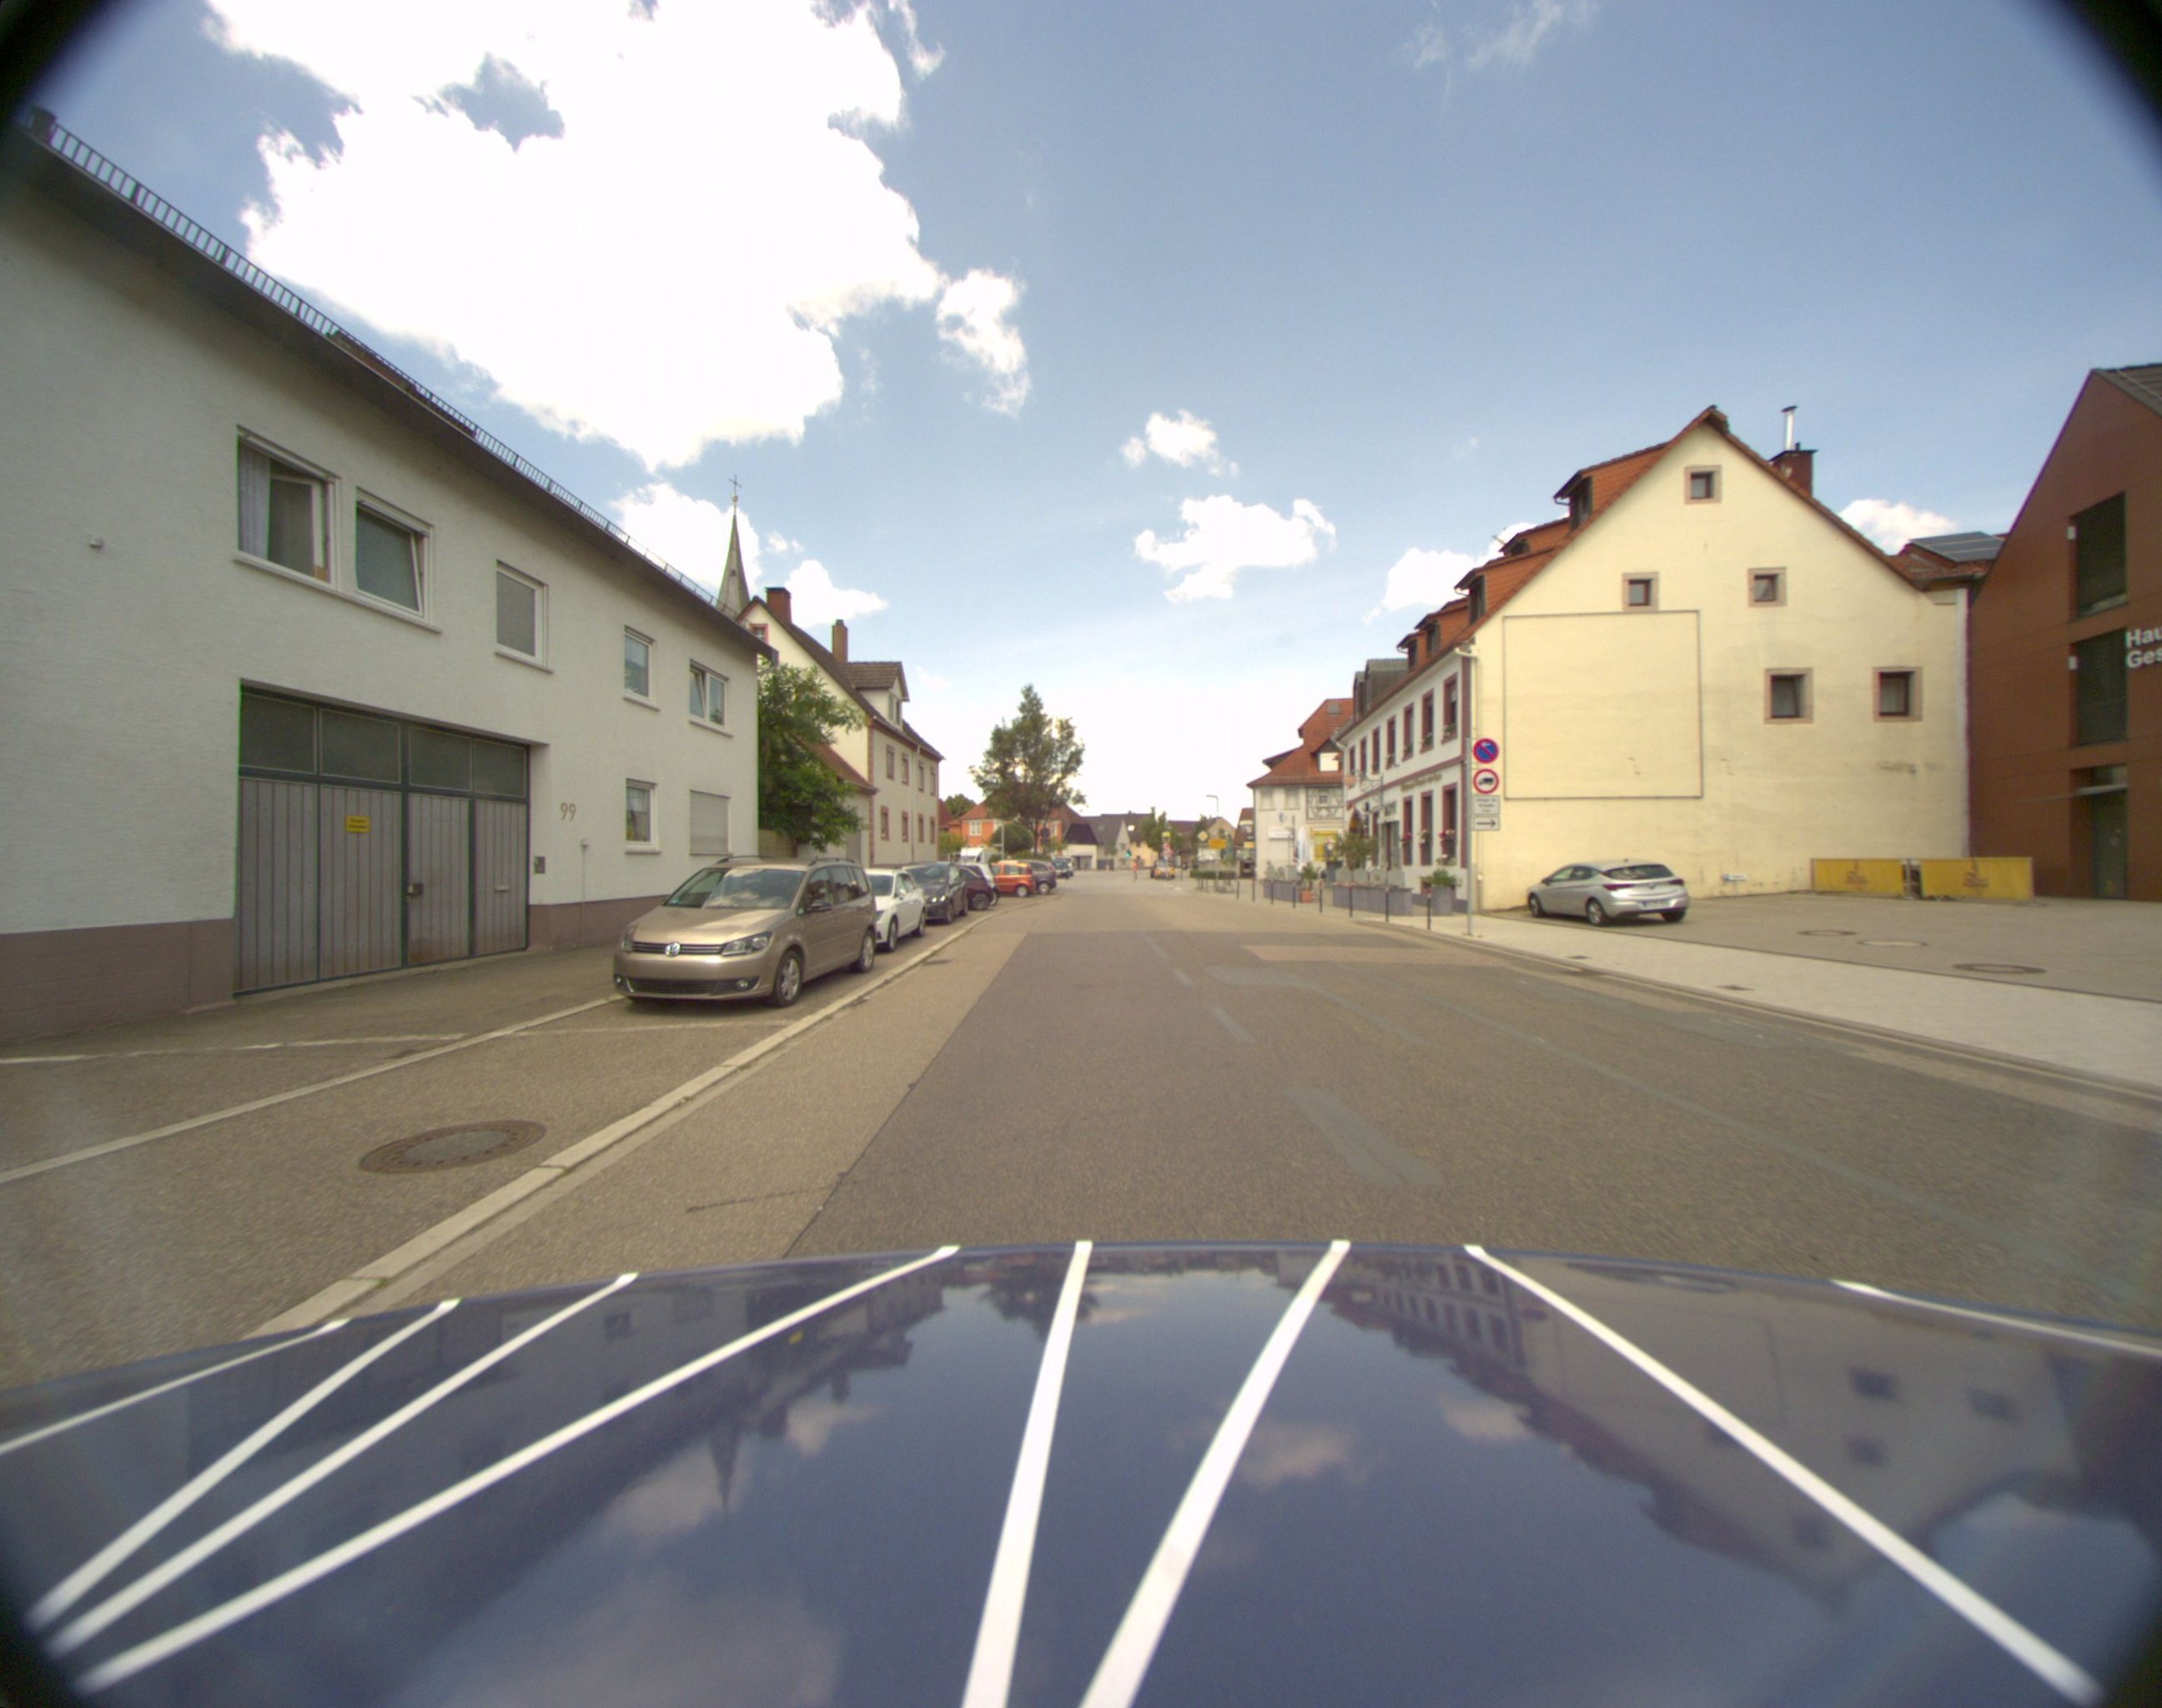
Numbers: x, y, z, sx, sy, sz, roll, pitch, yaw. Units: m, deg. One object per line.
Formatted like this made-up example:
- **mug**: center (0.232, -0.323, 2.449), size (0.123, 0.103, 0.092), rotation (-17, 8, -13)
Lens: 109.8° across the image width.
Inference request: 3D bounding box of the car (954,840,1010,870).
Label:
- **car**: center (-10.139, 0.118, 78.509), size (2.755, 2.946, 7.124), rotation (1, 1, 20)

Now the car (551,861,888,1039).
- **car**: center (-4.034, 0.945, 9.474), size (1.998, 1.670, 4.324), rotation (1, 0, 2)

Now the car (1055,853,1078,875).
- **car**: center (-1.460, 1.000, 76.836), size (1.947, 2.164, 5.102), rotation (2, 0, 3)

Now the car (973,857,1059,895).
- **car**: center (-3.024, 1.026, 35.790), size (3.858, 1.568, 1.850), rotation (2, 2, -1)

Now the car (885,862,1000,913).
- **car**: center (-4.421, 1.065, 24.213), size (3.241, 1.496, 1.823), rotation (2, -1, -24)

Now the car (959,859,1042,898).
- **car**: center (-3.515, 1.056, 33.463), size (3.385, 1.568, 1.727), rotation (1, 0, 2)

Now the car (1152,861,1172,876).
- **car**: center (8.097, 1.437, 75.549), size (1.819, 1.415, 4.540), rotation (0, -1, 7)

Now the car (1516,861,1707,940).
- **car**: center (12.452, 1.011, 18.229), size (1.762, 1.483, 4.277), rotation (-5, 0, 5)

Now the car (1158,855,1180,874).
- **car**: center (9.642, 1.143, 82.885), size (1.990, 1.978, 5.049), rotation (0, -1, 10)

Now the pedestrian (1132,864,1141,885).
- **pedestrian**: center (4.317, 1.619, 58.938), size (0.640, 1.619, 0.620), rotation (1, 0, 5)

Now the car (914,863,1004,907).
- **car**: center (-4.370, 1.076, 27.080), size (2.791, 1.496, 1.874), rotation (1, 0, -21)

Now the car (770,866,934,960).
- **car**: center (-4.238, 1.029, 14.877), size (1.999, 1.508, 4.371), rotation (1, 0, -2)

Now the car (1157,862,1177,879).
- **car**: center (7.815, 1.511, 69.019), size (1.672, 1.466, 3.964), rotation (1, -1, 4)

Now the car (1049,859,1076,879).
- **car**: center (-1.468, 1.198, 63.402), size (1.773, 1.555, 4.420), rotation (3, 0, 4)

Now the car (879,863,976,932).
- **car**: center (-3.990, 1.072, 20.411), size (1.666, 1.615, 4.272), rotation (1, 0, 1)
